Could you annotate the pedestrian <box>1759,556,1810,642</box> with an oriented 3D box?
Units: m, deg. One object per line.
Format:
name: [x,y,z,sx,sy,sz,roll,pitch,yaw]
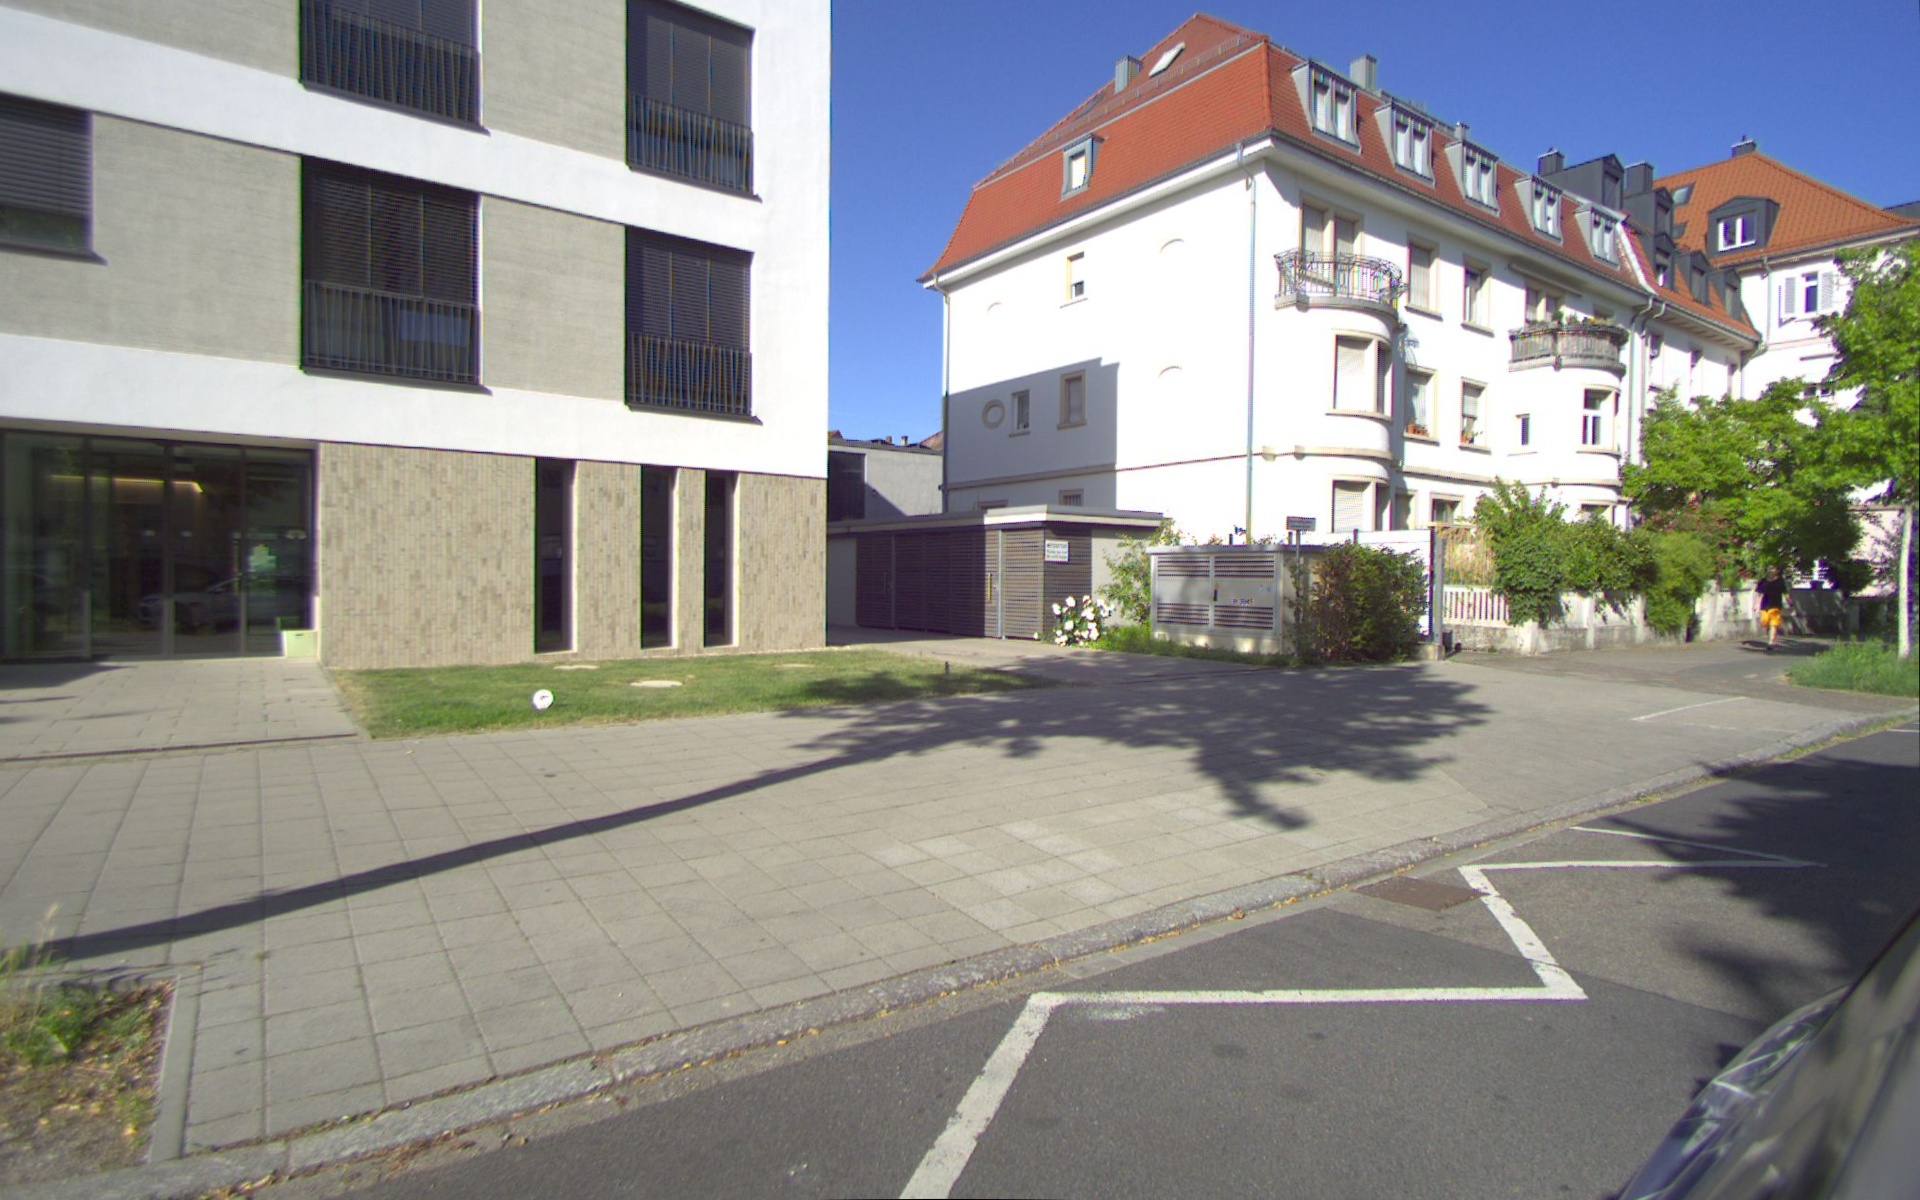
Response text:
pedestrian: [17.588,-0.039,21.587,0.784,1.796,0.624,0,2,-36]
